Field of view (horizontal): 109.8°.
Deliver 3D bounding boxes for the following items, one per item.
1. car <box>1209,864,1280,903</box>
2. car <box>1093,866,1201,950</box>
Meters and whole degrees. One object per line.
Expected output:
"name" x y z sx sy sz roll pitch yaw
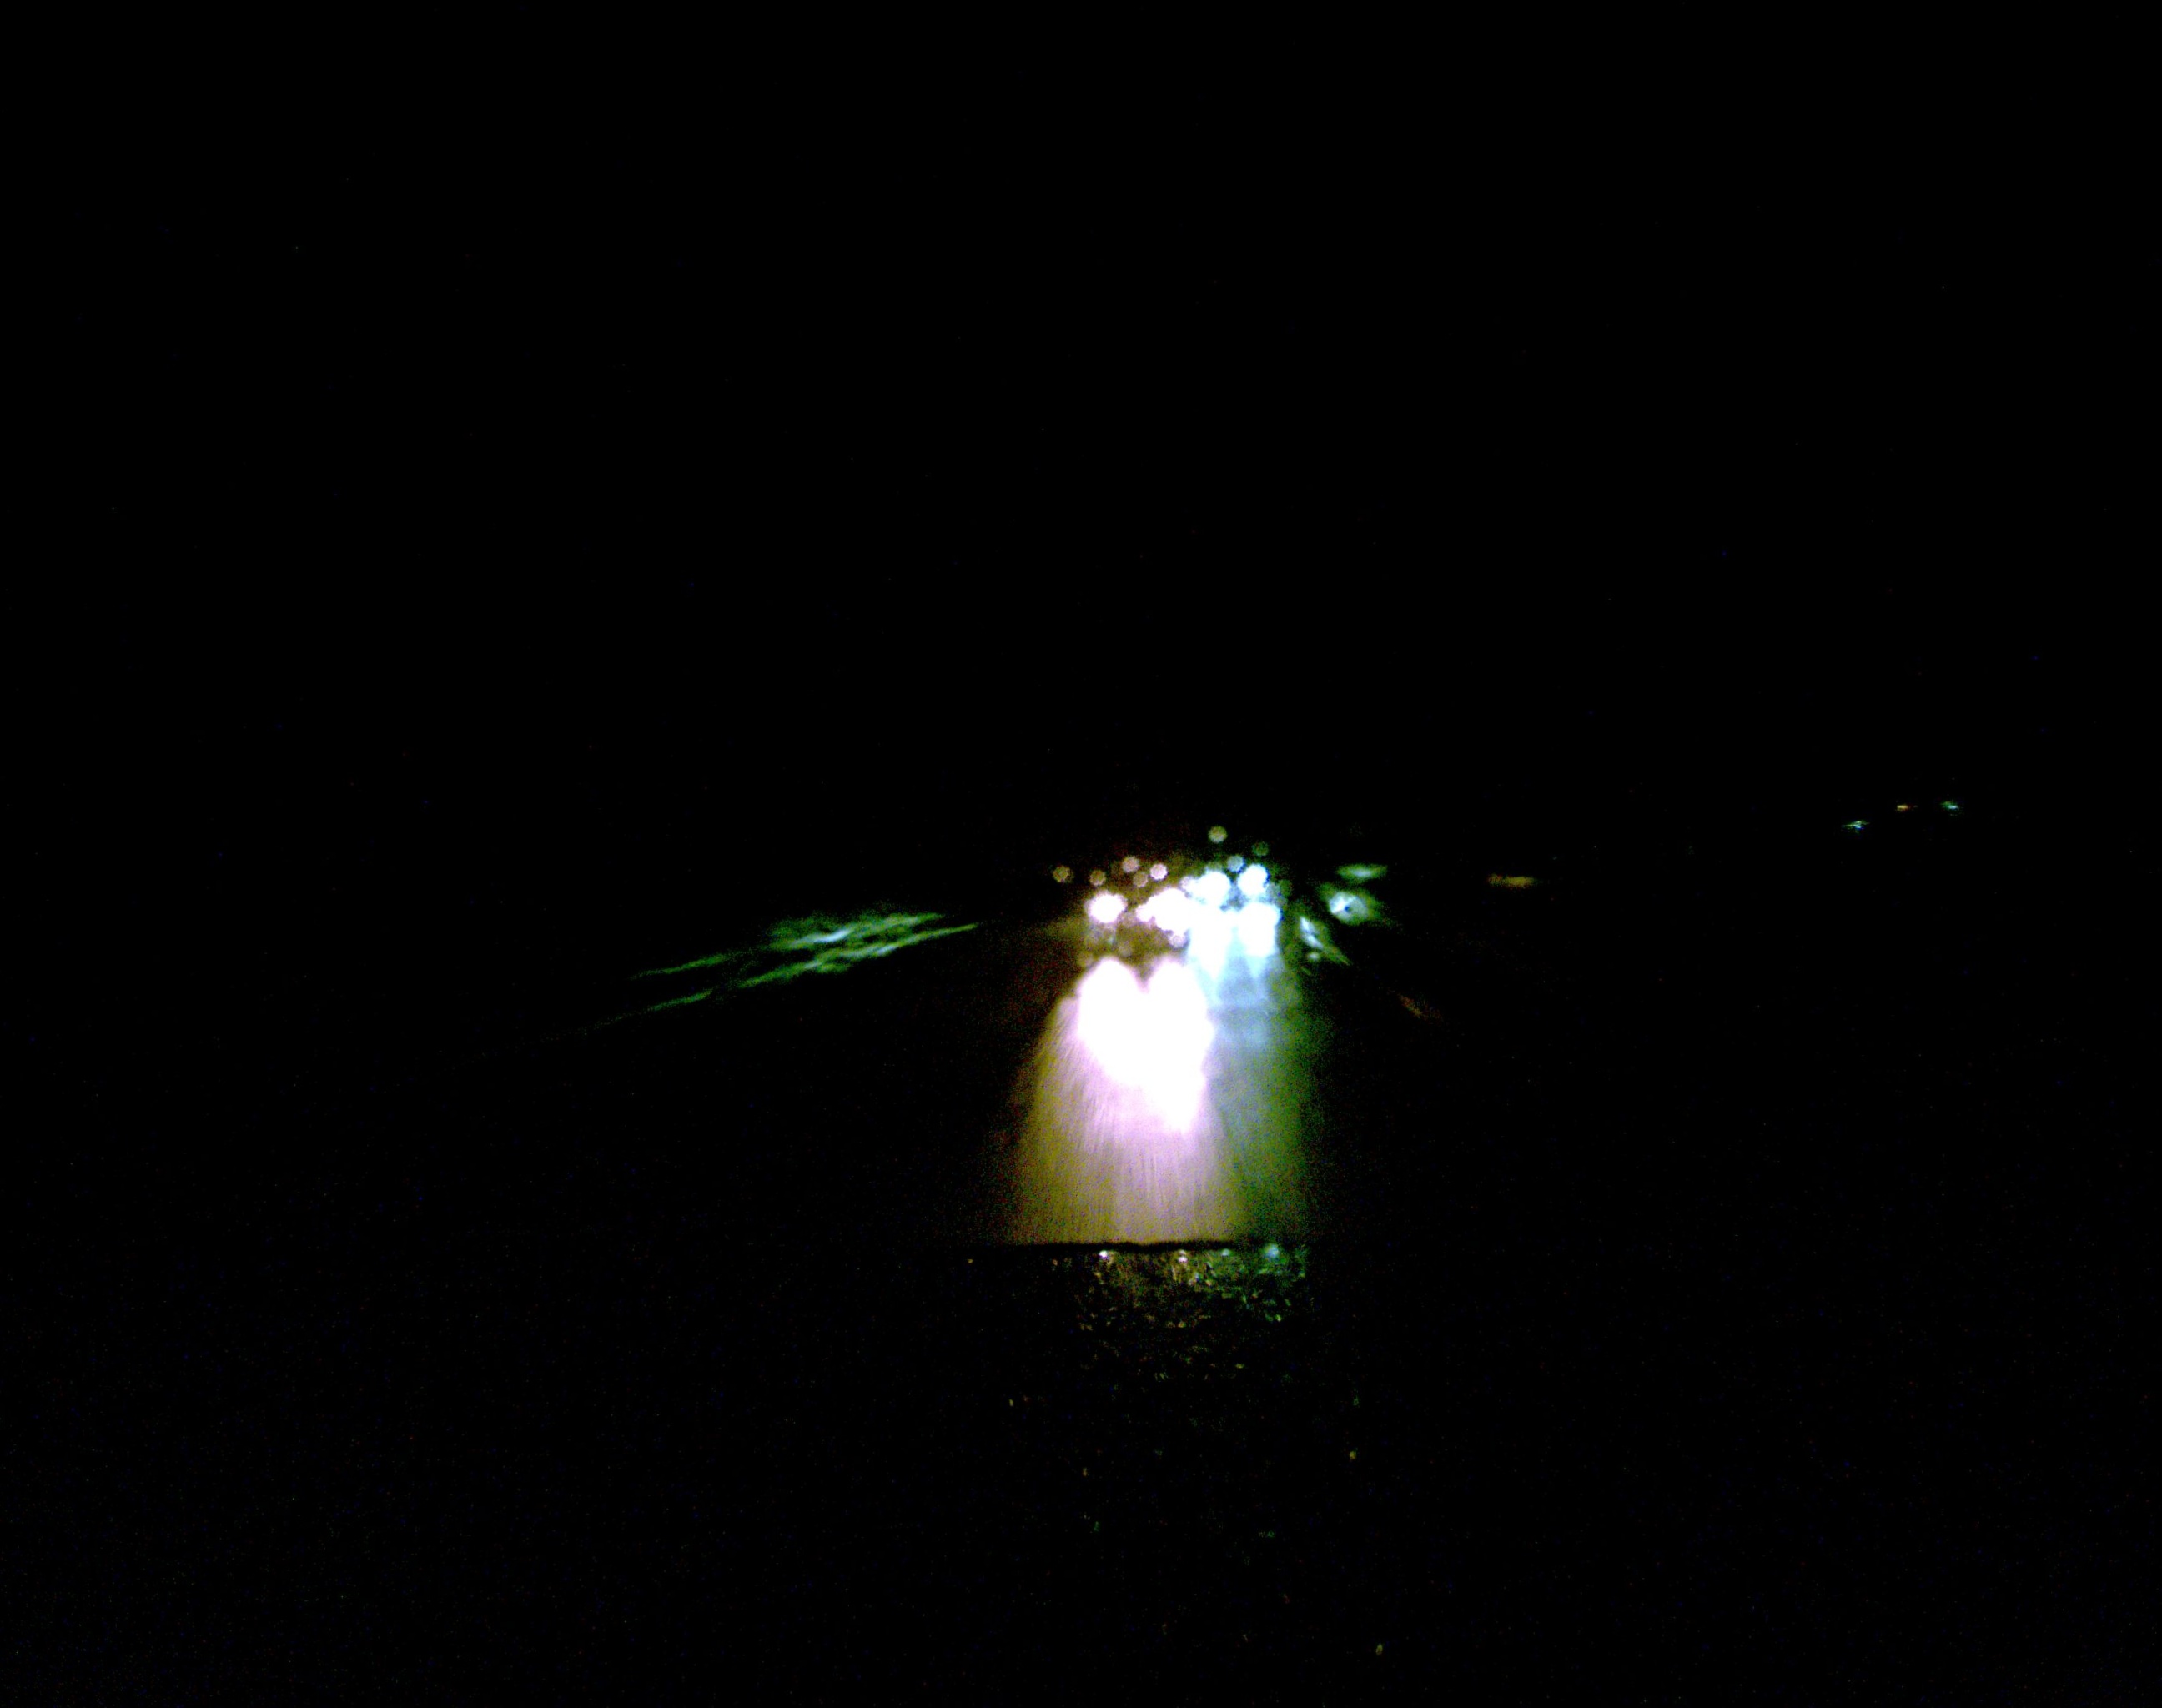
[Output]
"car" 6.130 1.047 28.164 1.757 1.304 4.092 -2 -1 23
"car" 1.438 0.983 15.236 1.685 1.442 3.646 0 0 12
